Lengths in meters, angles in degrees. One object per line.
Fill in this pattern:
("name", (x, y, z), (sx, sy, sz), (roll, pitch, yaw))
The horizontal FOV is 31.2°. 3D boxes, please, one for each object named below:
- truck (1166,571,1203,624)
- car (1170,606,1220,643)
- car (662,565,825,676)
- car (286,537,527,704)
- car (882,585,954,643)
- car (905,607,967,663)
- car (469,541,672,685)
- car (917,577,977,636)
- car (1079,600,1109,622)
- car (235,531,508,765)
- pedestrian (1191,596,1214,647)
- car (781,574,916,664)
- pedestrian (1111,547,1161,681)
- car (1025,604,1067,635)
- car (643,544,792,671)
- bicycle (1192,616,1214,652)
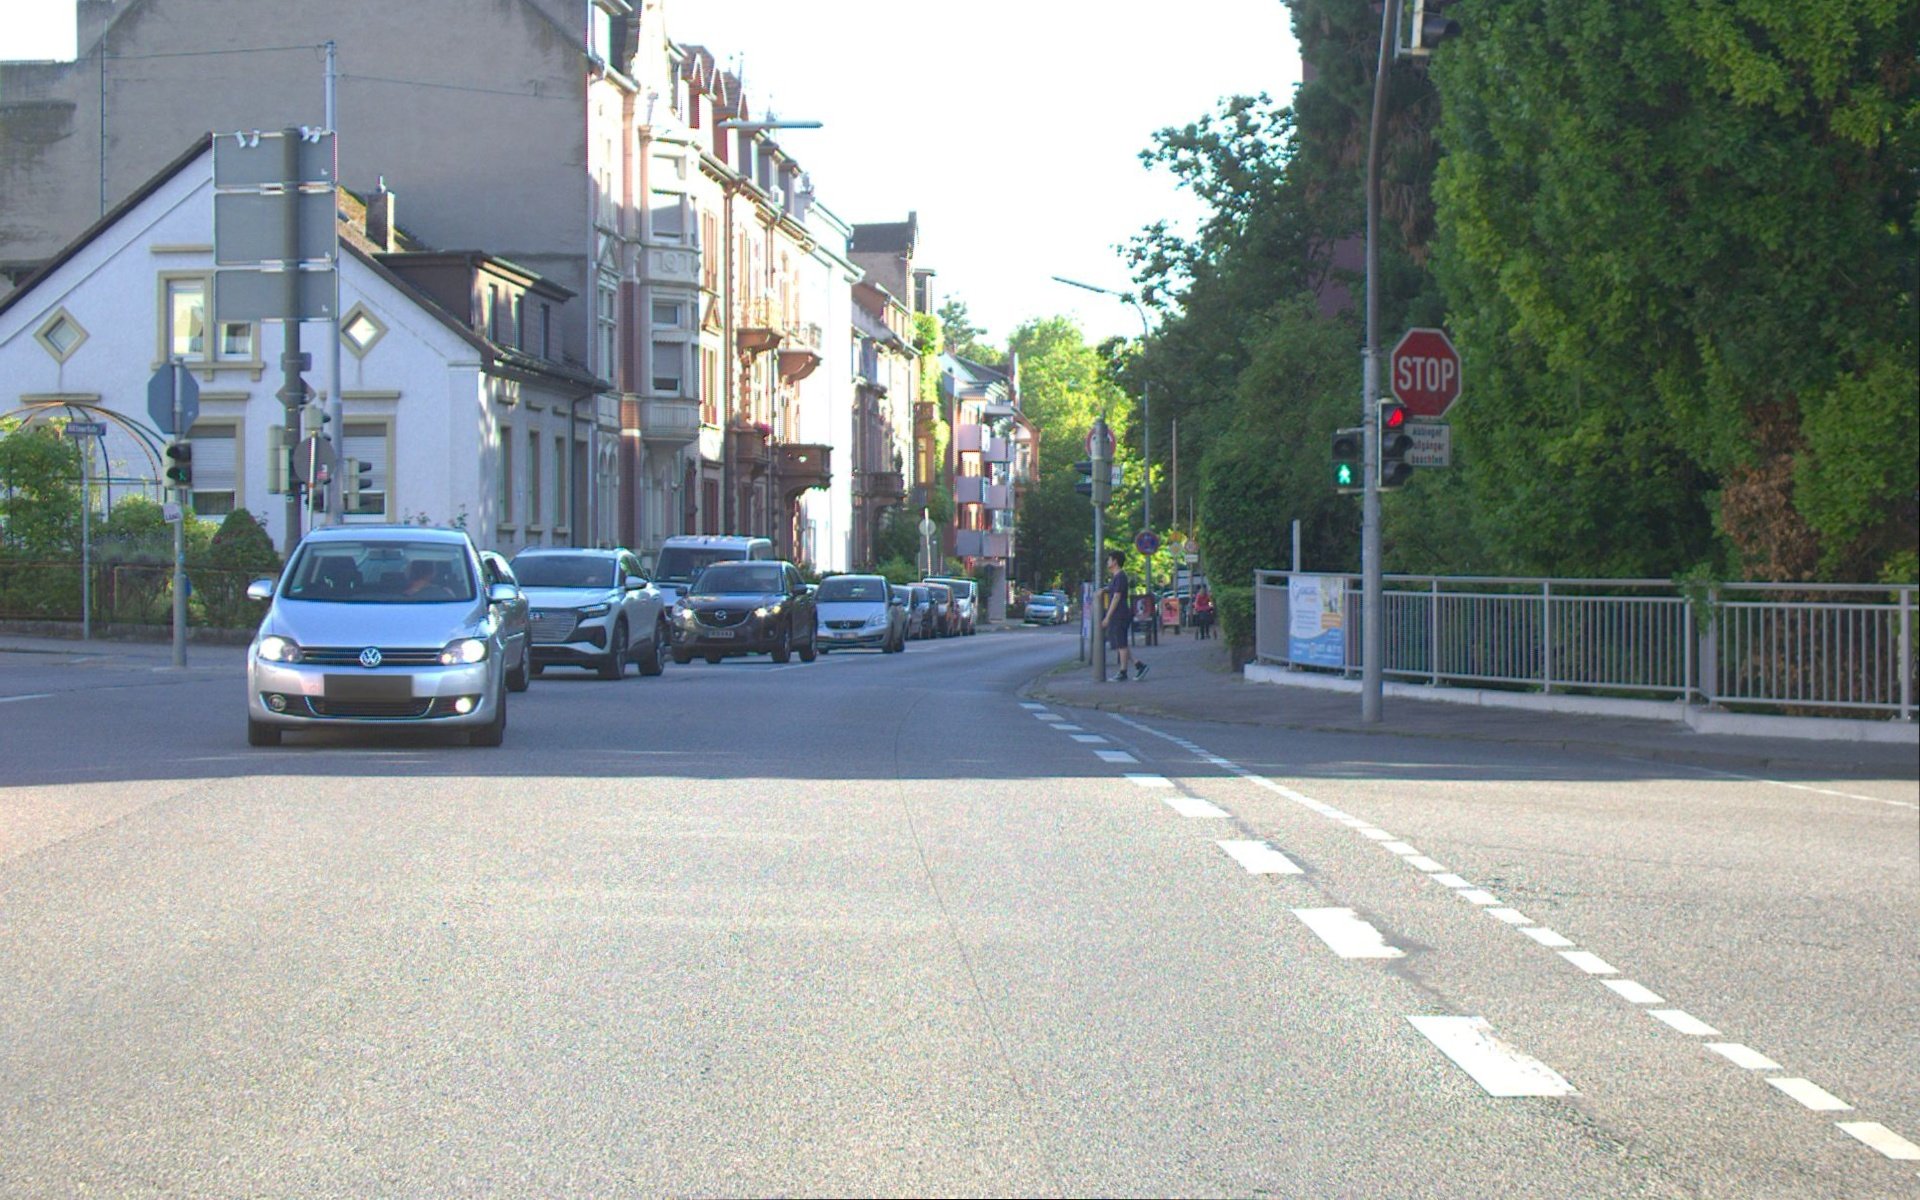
("truck", (12.480, -0.166, 191.058), (1.994, 2.887, 4.470), (-1, 1, 4))
("car", (10.257, 1.074, 149.830), (1.994, 1.512, 3.999), (-1, 1, 6))
("car", (-3.432, 0.295, 55.268), (1.954, 1.643, 4.282), (1, 1, 5))
("car", (-5.298, 0.152, 33.347), (1.775, 1.475, 4.097), (1, 1, -2))
("car", (-1.259, 0.409, 104.454), (1.703, 1.702, 4.439), (1, 0, 5))
("car", (-0.752, 1.110, 110.791), (1.702, 1.732, 3.856), (1, 0, 3))
("car", (-4.760, 0.111, 42.587), (1.775, 1.643, 4.534), (1, 1, 3))
("car", (-0.443, 0.231, 121.447), (1.793, 2.003, 4.697), (1, 0, 3))
("car", (9.725, 0.776, 249.104), (1.994, 1.486, 4.470), (-1, 1, 5))
("car", (-4.214, 0.285, 25.115), (1.775, 1.537, 4.001), (1, 1, -7))
("pedestrian", (6.739, 0.599, 95.541), (0.598, 1.398, 0.668), (1, 1, 3))
("car", (-2.192, 0.351, 68.691), (1.954, 1.643, 4.282), (1, 1, 8))
("pedestrian", (2.244, 0.168, 43.711), (0.602, 1.687, 0.612), (-1, 1, 4))
("car", (4.587, 1.026, 182.712), (1.994, 1.486, 4.470), (-1, 1, 5))
("car", (-4.904, 0.136, 70.369), (2.068, 2.452, 6.013), (1, 0, 5))
("bicycle", (6.705, 0.939, 94.951), (0.566, 0.967, 0.492), (1, 1, 2))
